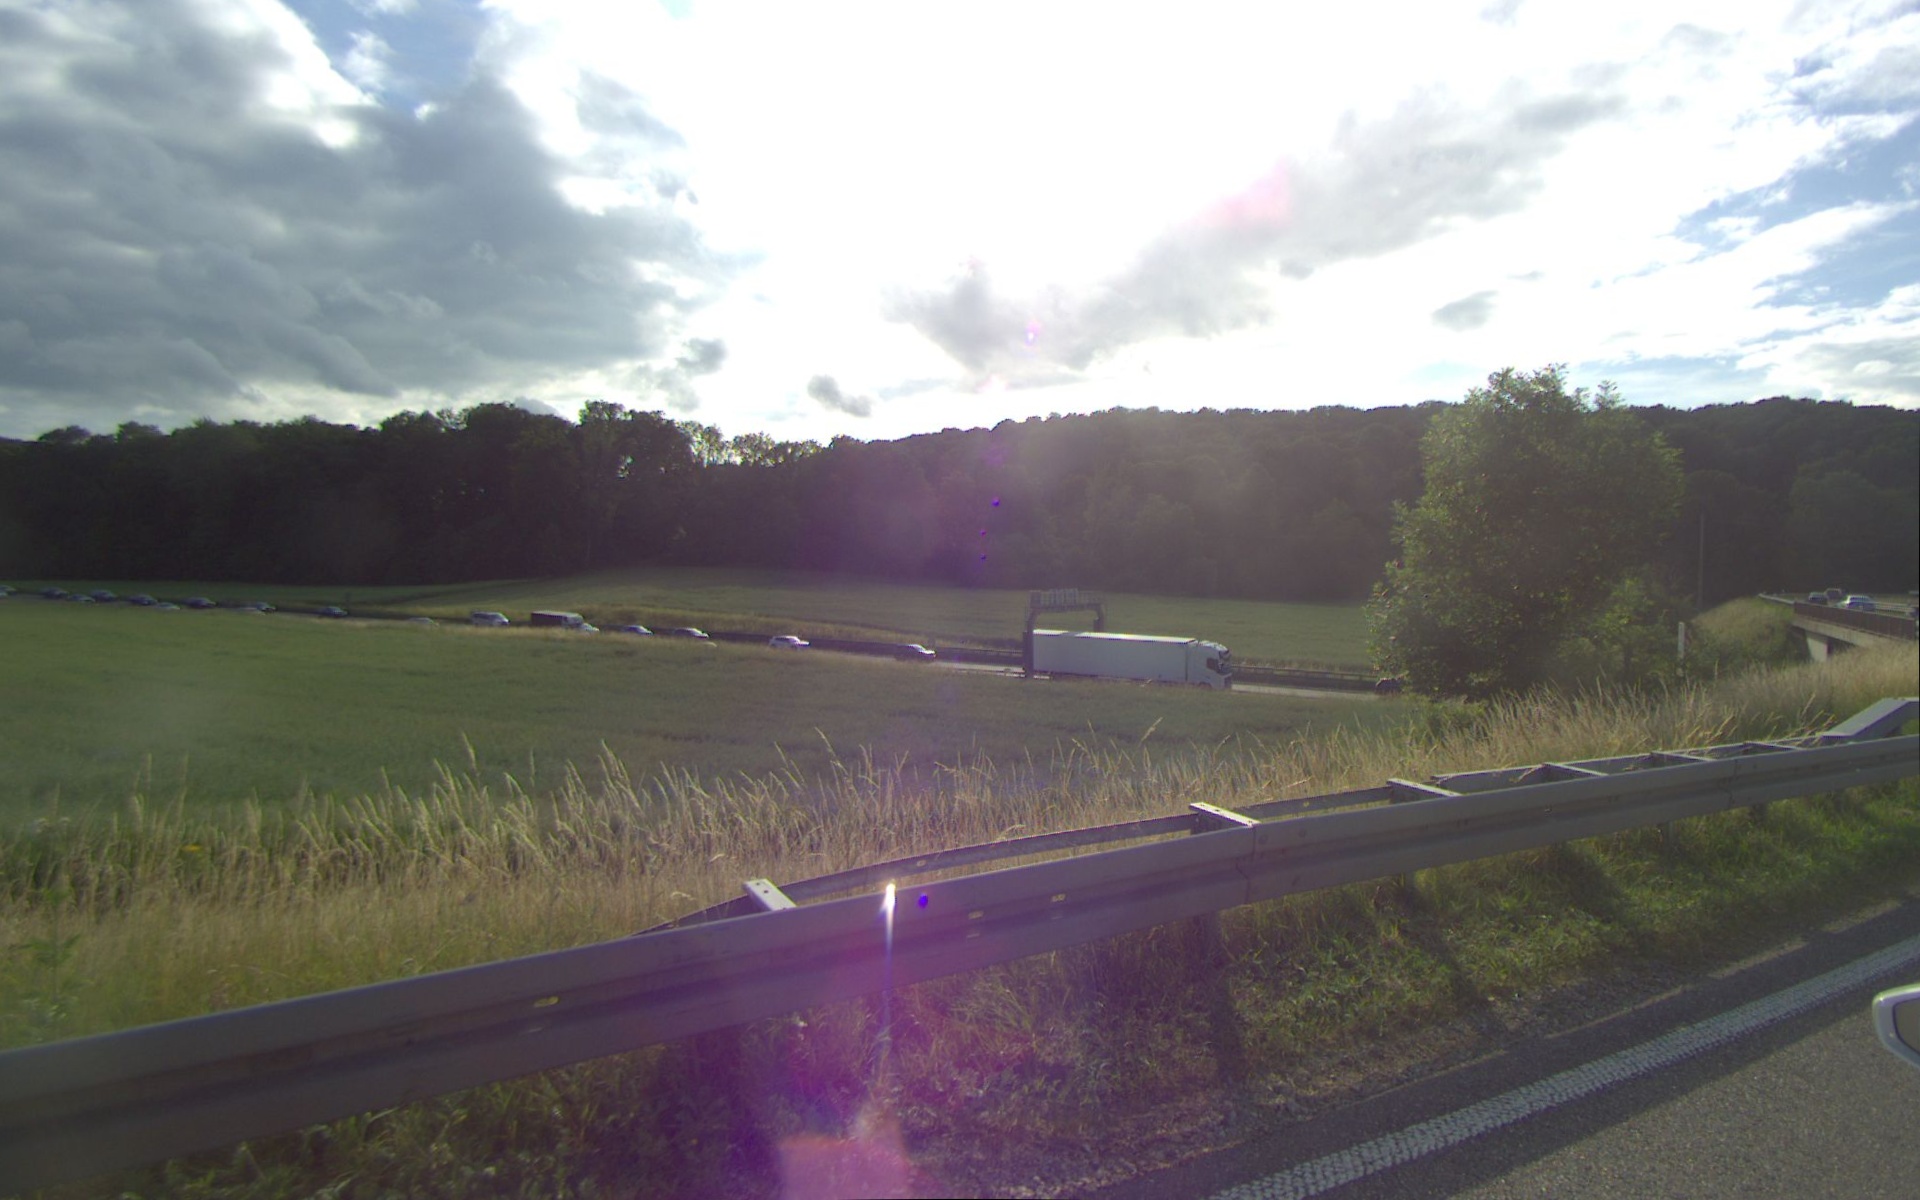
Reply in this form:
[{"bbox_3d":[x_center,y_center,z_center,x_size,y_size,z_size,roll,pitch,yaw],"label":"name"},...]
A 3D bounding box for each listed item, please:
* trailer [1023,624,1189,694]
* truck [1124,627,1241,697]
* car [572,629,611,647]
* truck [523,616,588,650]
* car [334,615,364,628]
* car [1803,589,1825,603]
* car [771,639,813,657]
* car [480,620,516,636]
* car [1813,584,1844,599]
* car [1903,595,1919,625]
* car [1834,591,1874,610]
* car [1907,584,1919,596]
[{"bbox_3d":[11.102,4.391,77.558,12.506,4.529,3.024,1,4,32],"label":"trailer"},{"bbox_3d":[16.394,4.448,74.240,7.916,4.529,3.021,1,4,32],"label":"truck"},{"bbox_3d":[-42.522,4.368,115.879,3.927,1.750,1.998,2,-3,29],"label":"car"},{"bbox_3d":[-44.392,3.650,110.217,8.351,3.450,2.118,-2,-1,33],"label":"truck"},{"bbox_3d":[-84.153,2.938,138.396,3.927,1.608,1.800,2,1,29],"label":"car"},{"bbox_3d":[83.494,-0.384,98.172,1.455,1.244,3.280,2,3,43],"label":"car"},{"bbox_3d":[-16.893,4.807,101.106,3.930,1.672,1.824,-1,0,31],"label":"car"},{"bbox_3d":[-56.862,3.475,123.701,3.927,1.750,1.998,2,-3,29],"label":"car"},{"bbox_3d":[113.558,-1.132,131.361,4.135,1.701,1.981,2,2,-35],"label":"car"},{"bbox_3d":[53.582,0.562,55.087,1.835,1.590,3.991,2,2,30],"label":"car"},{"bbox_3d":[69.504,0.012,78.129,1.659,1.394,3.988,2,1,33],"label":"car"},{"bbox_3d":[142.860,-1.514,149.137,3.945,1.795,1.988,0,-1,-24],"label":"car"}]
